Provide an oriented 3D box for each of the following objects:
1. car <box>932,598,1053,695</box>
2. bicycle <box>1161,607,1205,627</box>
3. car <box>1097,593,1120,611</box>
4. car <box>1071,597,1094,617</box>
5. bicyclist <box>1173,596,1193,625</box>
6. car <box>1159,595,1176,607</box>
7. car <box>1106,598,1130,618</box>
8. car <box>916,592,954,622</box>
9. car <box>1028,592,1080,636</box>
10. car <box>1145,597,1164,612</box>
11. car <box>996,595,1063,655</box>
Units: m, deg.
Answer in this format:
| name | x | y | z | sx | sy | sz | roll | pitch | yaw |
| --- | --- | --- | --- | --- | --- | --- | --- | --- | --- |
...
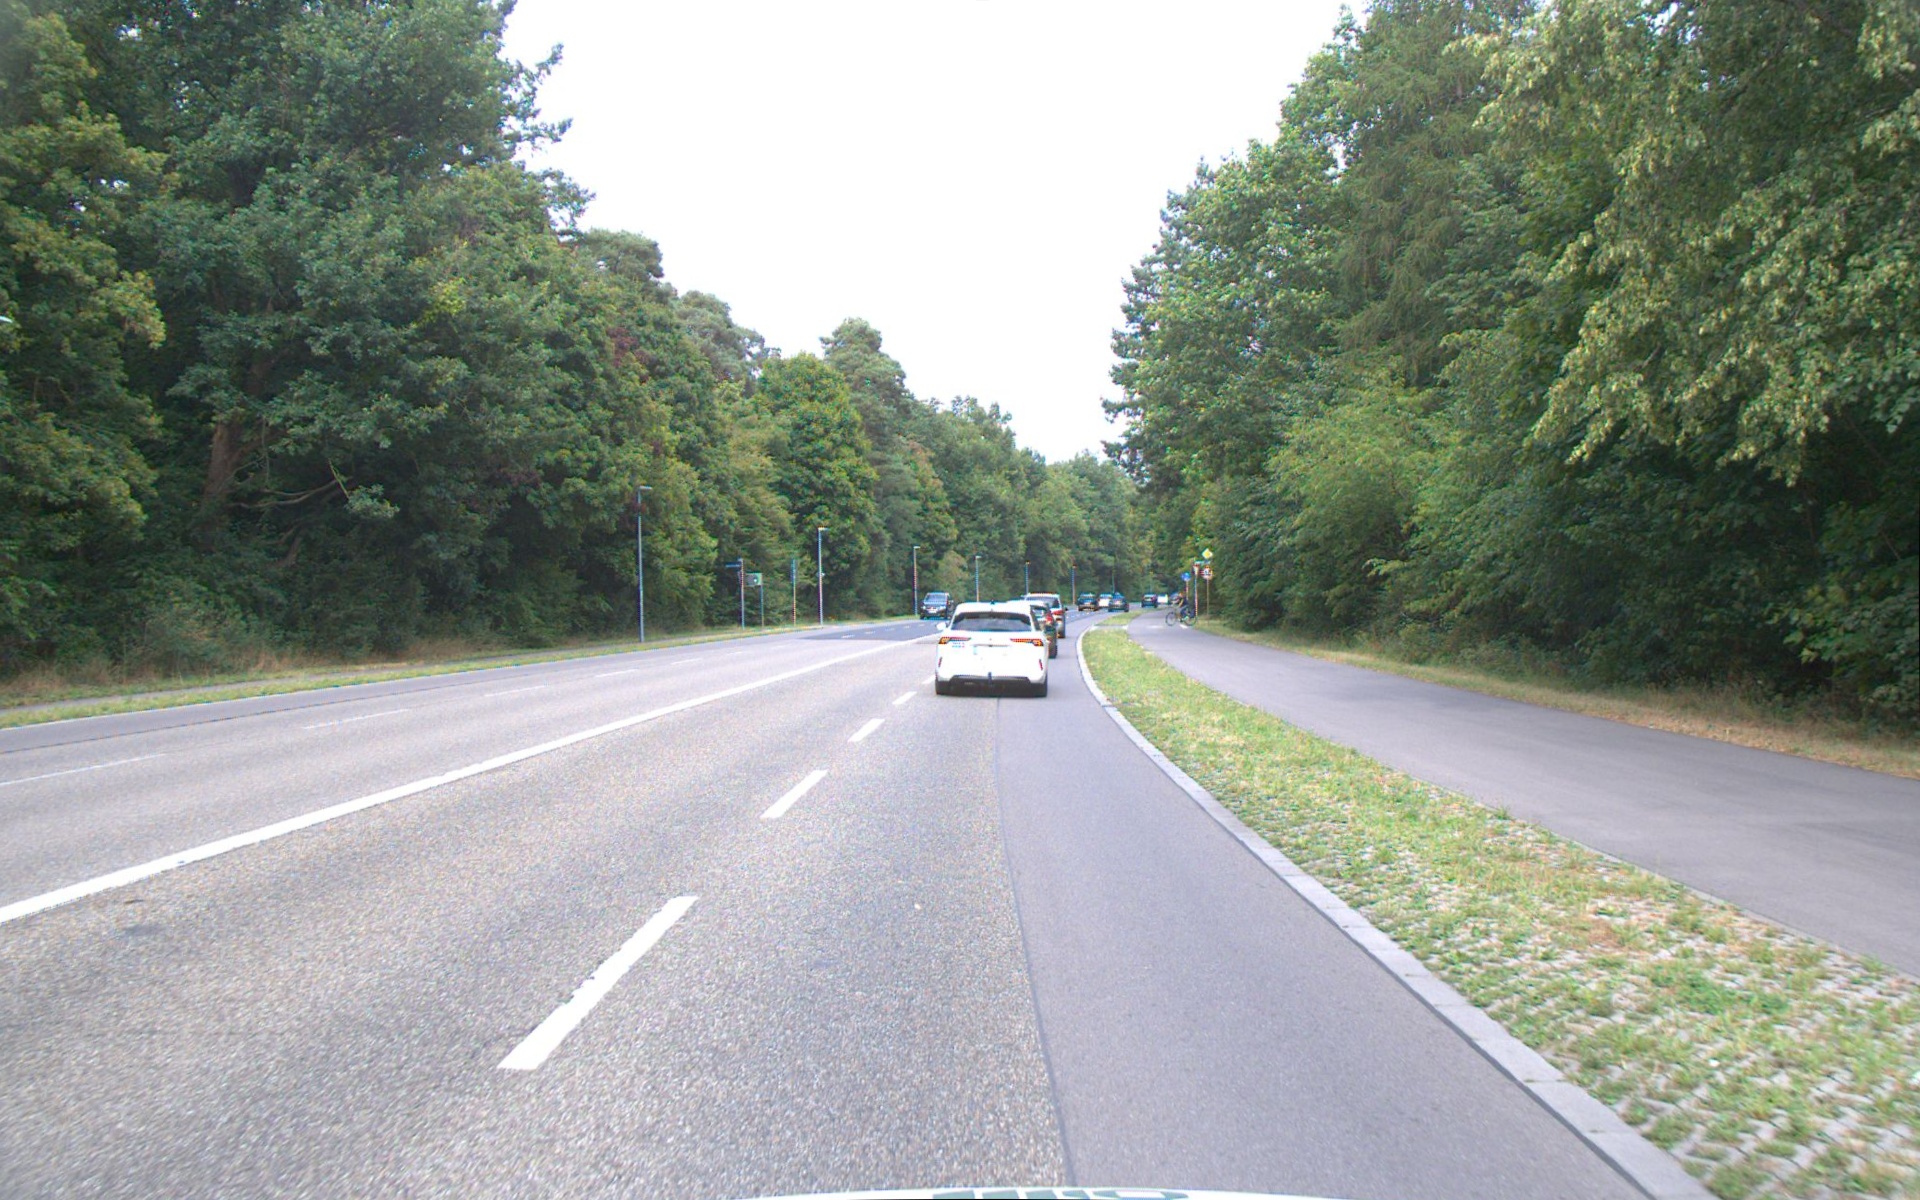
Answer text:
| name | x | y | z | sx | sy | sz | roll | pitch | yaw |
| --- | --- | --- | --- | --- | --- | --- | --- | --- | --- |
| car | 0.594 | 0.714 | 26.794 | 1.798 | 1.435 | 4.492 | 0 | -1 | 3 |
| bicycle | 11.572 | 0.873 | 85.859 | 2.136 | 1.011 | 0.709 | 0 | 0 | -13 |
| car | 16.365 | 0.263 | 181.828 | 1.951 | 1.814 | 4.003 | 2 | -1 | 13 |
| car | 12.154 | 0.709 | 164.247 | 1.951 | 1.814 | 4.003 | 2 | -1 | 8 |
| bicyclist | 11.565 | 0.538 | 85.850 | 0.883 | 1.496 | 0.709 | 0 | 0 | -12 |
| car | 29.472 | 0.172 | 234.734 | 1.951 | 1.736 | 4.003 | 0 | 0 | 15 |
| car | 15.176 | 0.774 | 158.699 | 1.951 | 1.814 | 4.003 | 2 | -1 | 11 |
| car | -1.586 | 0.486 | 106.800 | 1.951 | 1.822 | 4.750 | 2 | -1 | 5 |
| car | 3.699 | 0.557 | 65.257 | 1.952 | 1.635 | 4.001 | 2 | -1 | 3 |
| car | 23.996 | 0.564 | 204.151 | 1.951 | 1.814 | 4.003 | 2 | -1 | 12 |
| car | 1.863 | 0.662 | 43.584 | 1.601 | 1.445 | 4.002 | 2 | -1 | 4 |
